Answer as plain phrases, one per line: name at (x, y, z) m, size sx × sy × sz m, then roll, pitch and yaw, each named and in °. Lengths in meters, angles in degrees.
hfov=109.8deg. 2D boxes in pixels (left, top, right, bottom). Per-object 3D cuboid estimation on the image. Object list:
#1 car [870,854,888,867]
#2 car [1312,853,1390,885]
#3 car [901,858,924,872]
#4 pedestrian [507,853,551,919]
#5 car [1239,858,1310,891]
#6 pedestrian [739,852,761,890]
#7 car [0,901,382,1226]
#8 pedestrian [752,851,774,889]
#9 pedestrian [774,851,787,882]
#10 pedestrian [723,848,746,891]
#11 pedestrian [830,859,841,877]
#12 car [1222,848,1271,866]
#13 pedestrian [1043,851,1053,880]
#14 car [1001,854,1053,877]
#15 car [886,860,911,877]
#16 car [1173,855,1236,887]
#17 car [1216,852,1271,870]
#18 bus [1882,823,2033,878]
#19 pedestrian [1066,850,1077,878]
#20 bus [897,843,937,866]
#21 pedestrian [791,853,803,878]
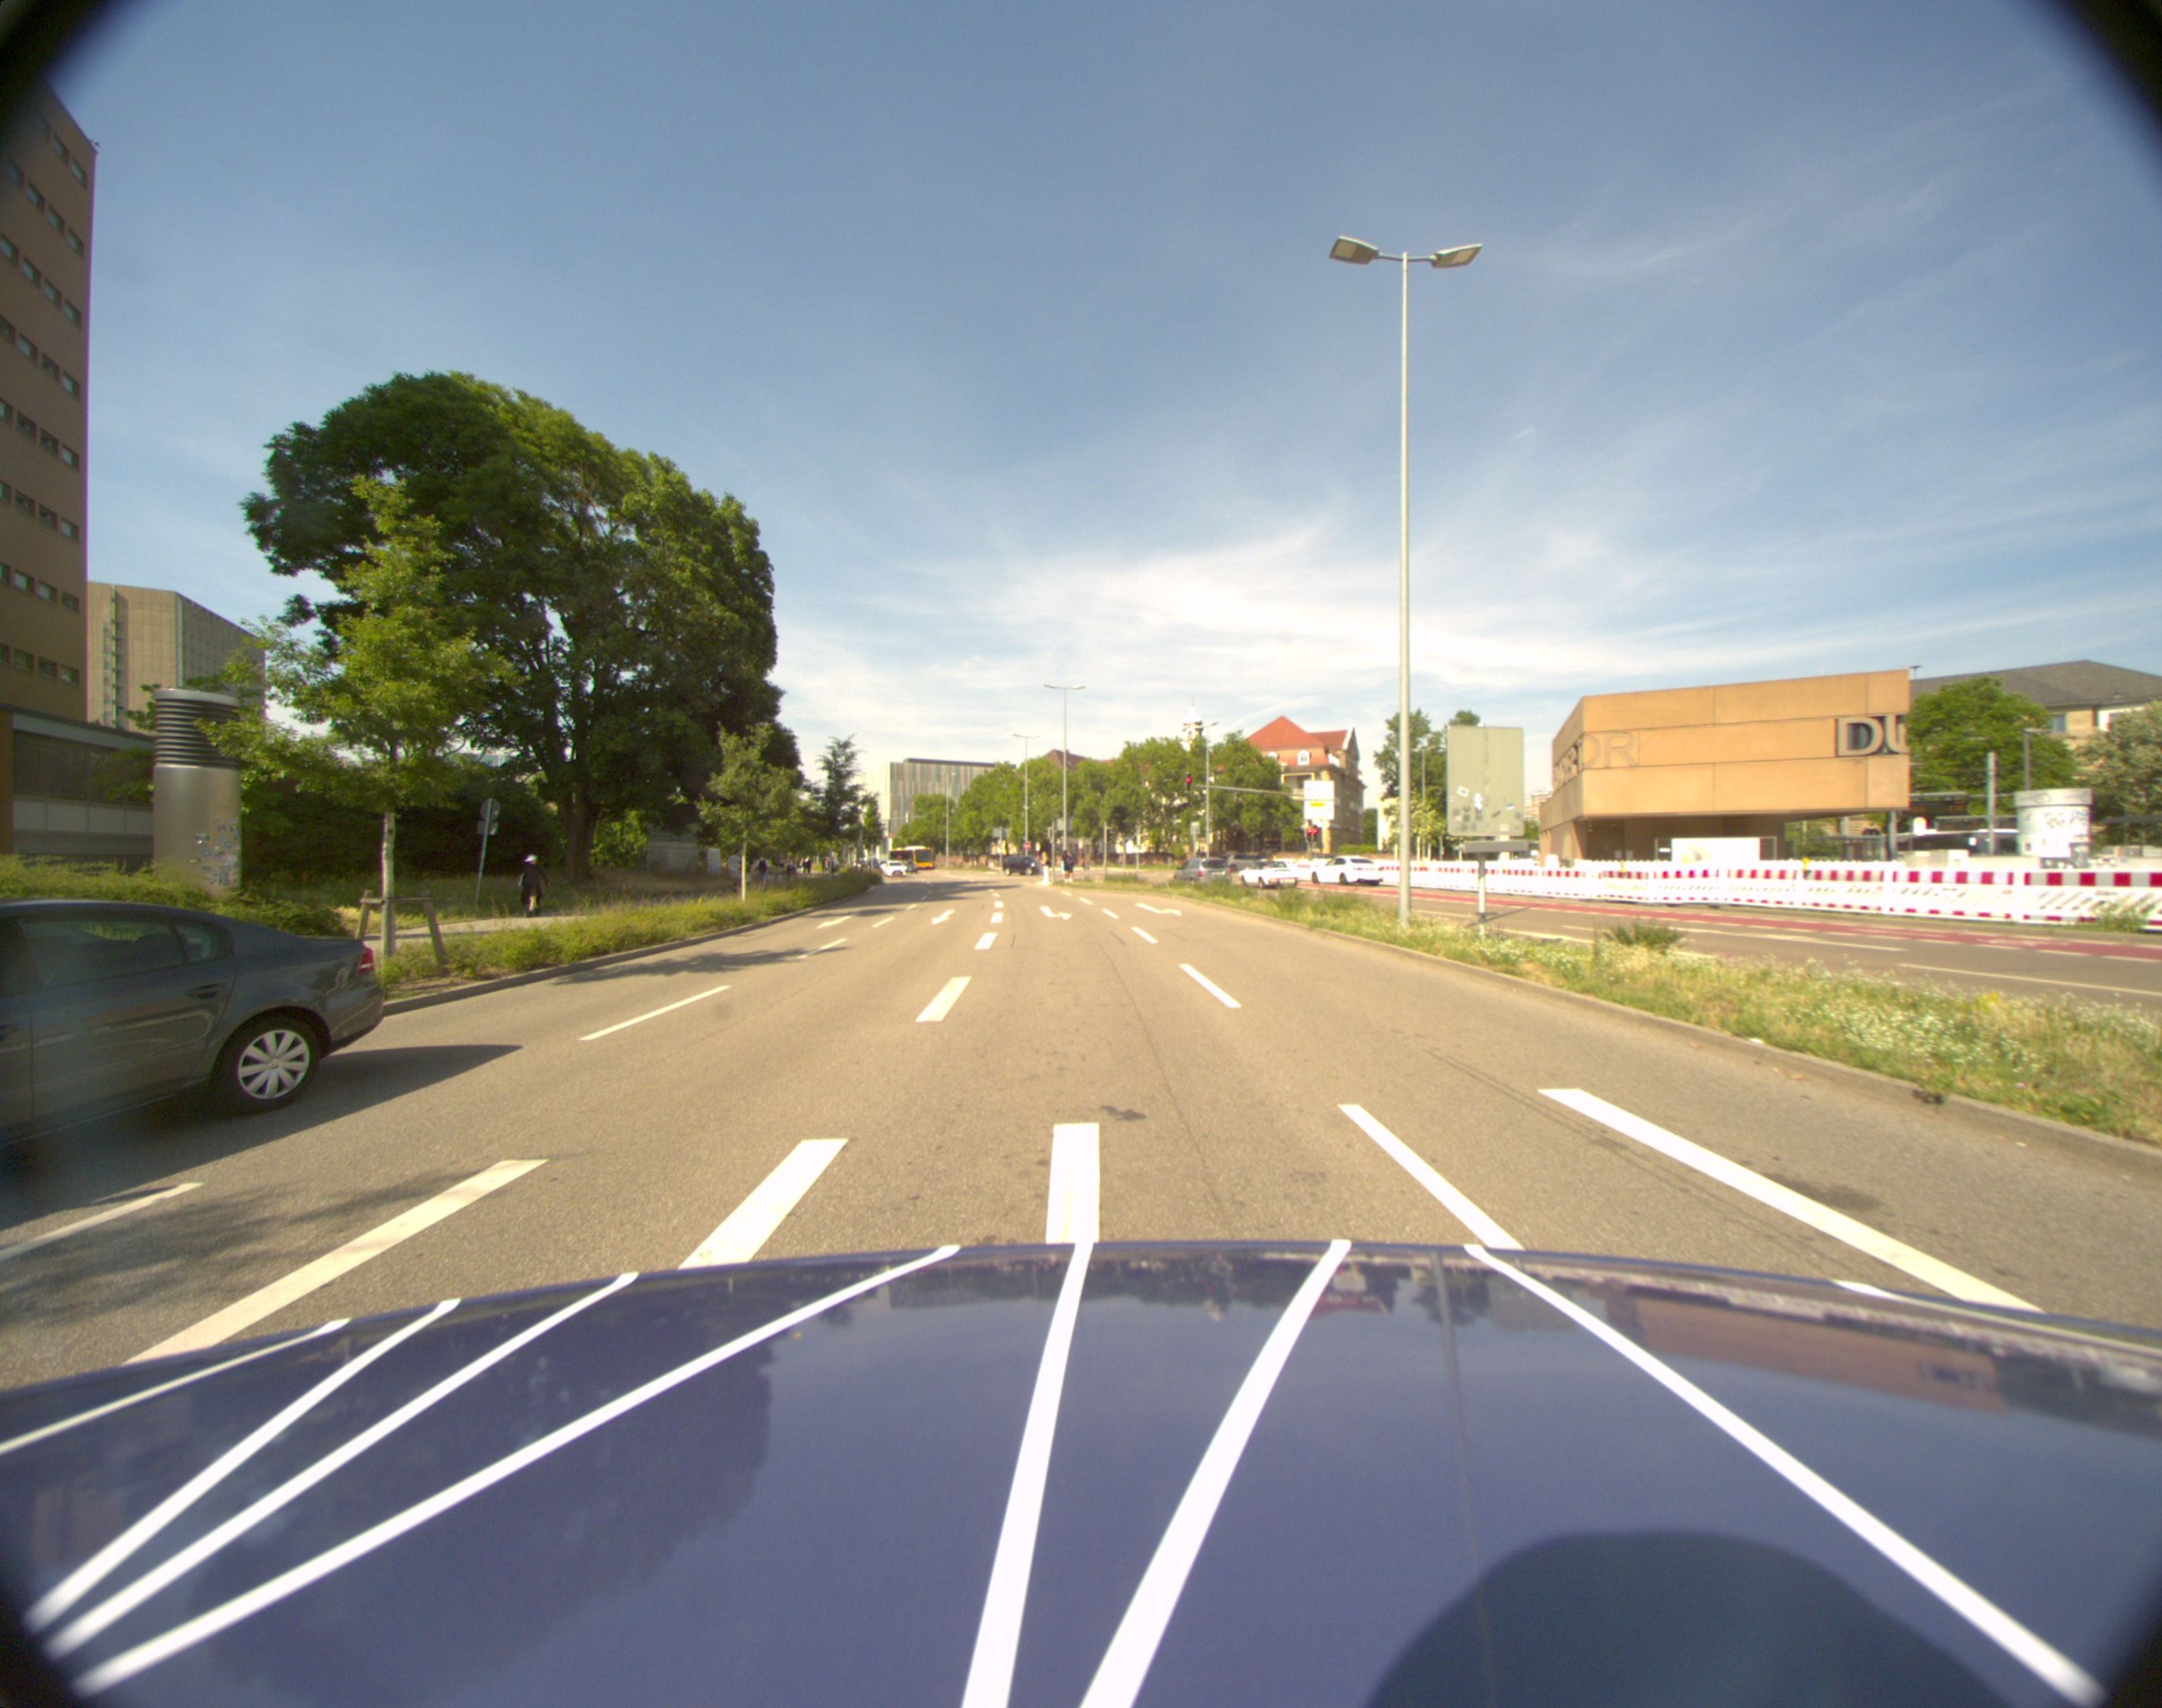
car at (-21.893, 0.690, 82.325) m, size 1.411 × 1.287 × 3.574 m, roll 0°, pitch 0°, yaw -23°
car at (13.116, 0.696, 37.110) m, size 1.804 × 1.412 × 3.996 m, roll -2°, pitch 1°, yaw -10°
car at (-18.301, 1.190, 82.493) m, size 1.653 × 1.416 × 4.112 m, roll -3°, pitch 1°, yaw -22°
pedestrian at (-14.167, 0.808, 19.517) m, size 0.592 × 1.654 × 0.731 m, roll 1°, pitch 1°, yaw 1°
car at (8.795, 0.895, 34.858) m, size 1.600 × 1.279 × 3.996 m, roll -2°, pitch 1°, yaw -10°
pedestrian at (-14.465, 0.746, 33.214) m, size 0.643 × 1.617 × 0.731 m, roll 1°, pitch 1°, yaw 1°
car at (-6.064, 1.111, 3.414) m, size 1.635 × 1.427 × 4.528 m, roll -1°, pitch 1°, yaw -1°
pedestrian at (-13.969, 0.692, 33.382) m, size 0.643 × 1.664 × 0.752 m, roll 1°, pitch 1°, yaw 1°
pedestrian at (-17.182, 0.688, 43.461) m, size 0.644 × 1.754 × 0.474 m, roll 1°, pitch 1°, yaw -20°
pedestrian at (-15.125, 0.669, 33.208) m, size 0.643 × 1.827 × 0.731 m, roll 1°, pitch 1°, yaw 1°
pedestrian at (-15.974, 0.902, 49.489) m, size 0.644 × 1.125 × 0.751 m, roll 1°, pitch 1°, yaw -15°
car at (15.021, 0.286, 68.916) m, size 4.117 × 1.435 × 1.756 m, roll -3°, pitch 1°, yaw -24°
pedestrian at (-1.879, 0.659, 43.779) m, size 0.541 × 1.664 × 0.752 m, roll 0°, pitch 0°, yaw 1°
car at (-4.540, 0.972, 63.695) m, size 4.102 × 1.719 × 1.763 m, roll -2°, pitch 1°, yaw 36°
car at (-16.938, 1.308, 70.425) m, size 1.684 × 1.466 × 3.753 m, roll -3°, pitch 1°, yaw -20°
car at (5.659, 0.746, 35.226) m, size 1.600 × 1.279 × 3.996 m, roll -2°, pitch 1°, yaw -10°
car at (13.354, 0.524, 62.424) m, size 4.101 × 1.427 × 1.831 m, roll 0°, pitch 0°, yaw -19°
bus at (59.550, -0.219, 52.123) m, size 2.751 × 3.303 × 11.811 m, roll 0°, pitch 0°, yaw 28°
pedestrian at (-0.562, 0.579, 44.396) m, size 0.643 × 1.664 × 0.752 m, roll 0°, pitch 0°, yaw 0°
bus at (-22.488, 0.097, 103.617) m, size 2.801 × 3.020 × 12.123 m, roll 0°, pitch 0°, yaw -25°
pedestrian at (-16.374, 0.665, 43.786) m, size 0.644 × 1.438 × 0.568 m, roll 1°, pitch 1°, yaw -20°
